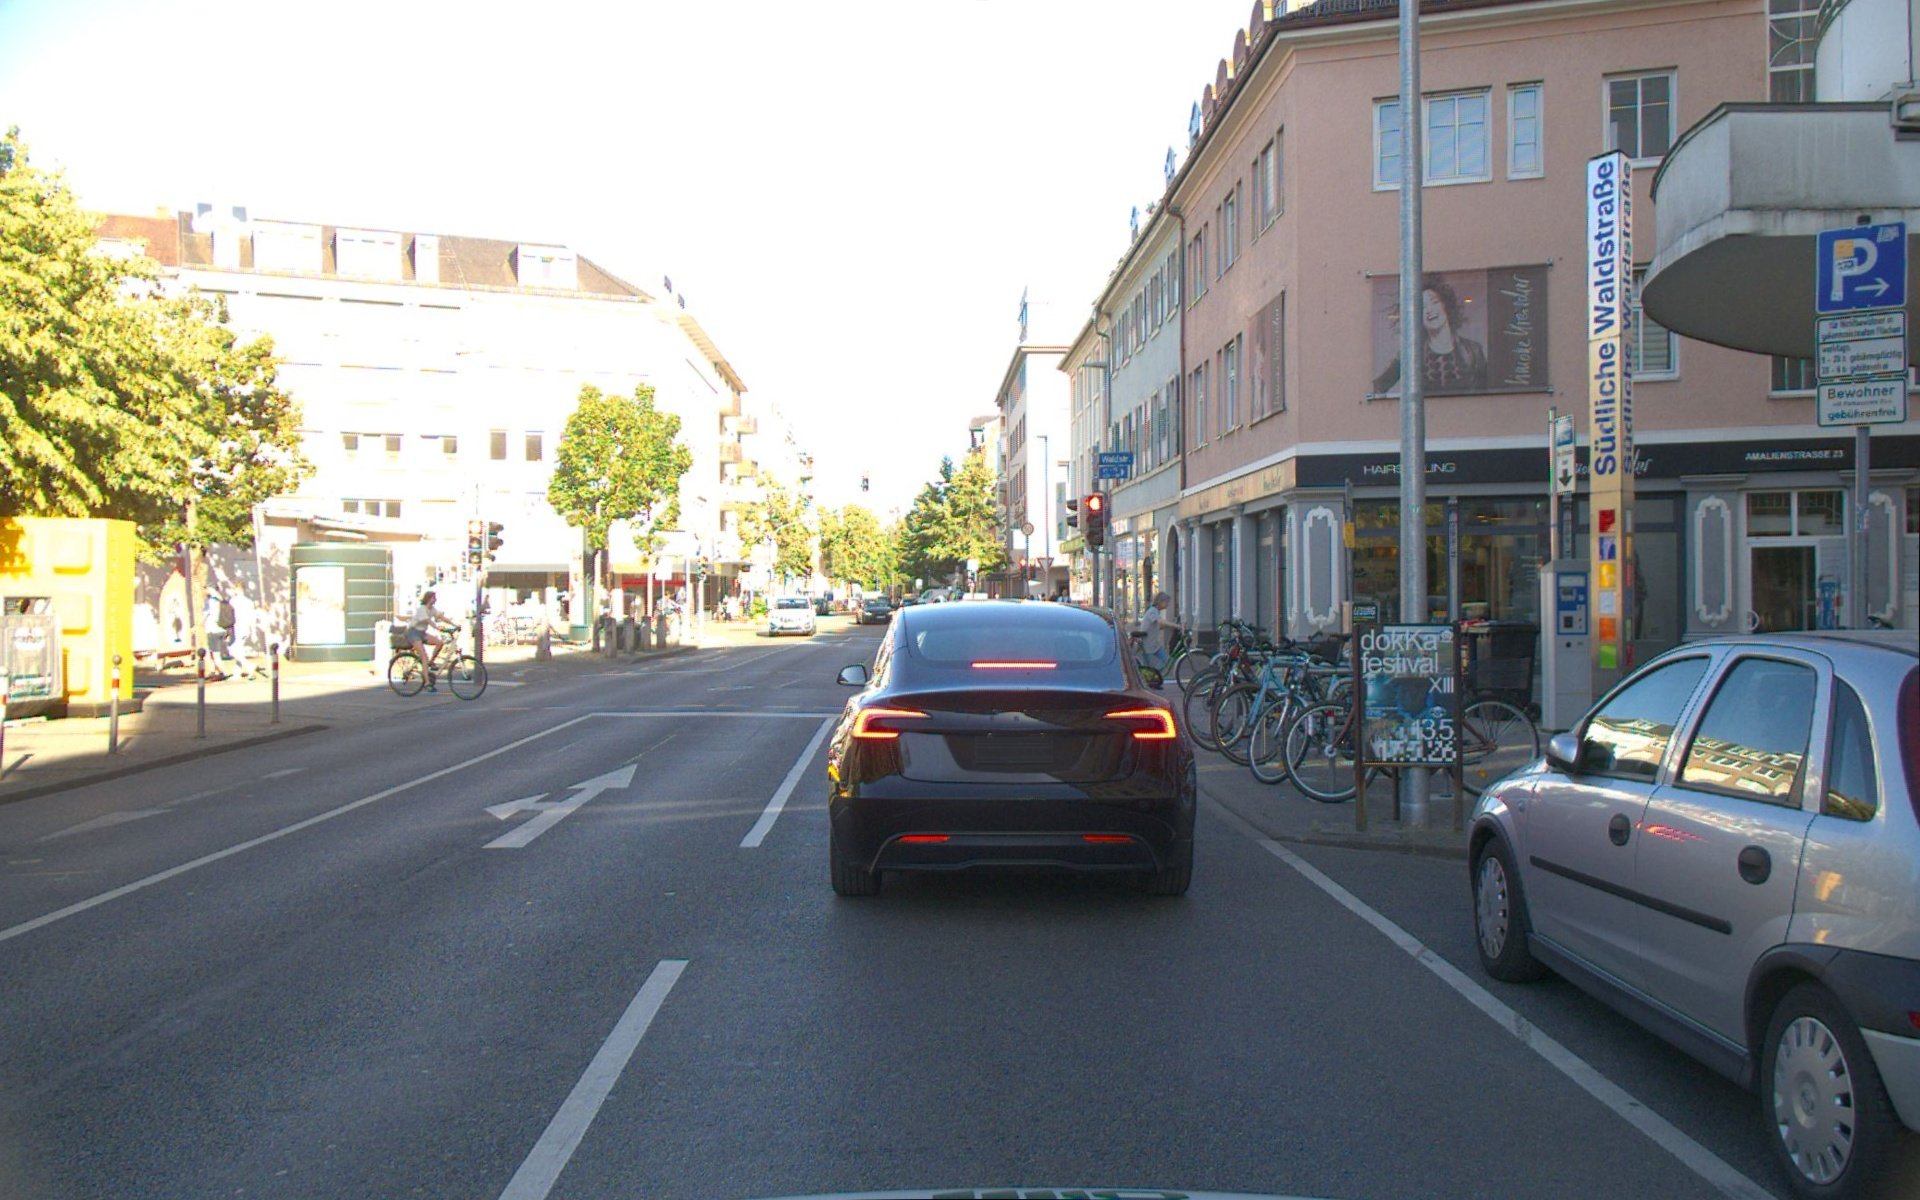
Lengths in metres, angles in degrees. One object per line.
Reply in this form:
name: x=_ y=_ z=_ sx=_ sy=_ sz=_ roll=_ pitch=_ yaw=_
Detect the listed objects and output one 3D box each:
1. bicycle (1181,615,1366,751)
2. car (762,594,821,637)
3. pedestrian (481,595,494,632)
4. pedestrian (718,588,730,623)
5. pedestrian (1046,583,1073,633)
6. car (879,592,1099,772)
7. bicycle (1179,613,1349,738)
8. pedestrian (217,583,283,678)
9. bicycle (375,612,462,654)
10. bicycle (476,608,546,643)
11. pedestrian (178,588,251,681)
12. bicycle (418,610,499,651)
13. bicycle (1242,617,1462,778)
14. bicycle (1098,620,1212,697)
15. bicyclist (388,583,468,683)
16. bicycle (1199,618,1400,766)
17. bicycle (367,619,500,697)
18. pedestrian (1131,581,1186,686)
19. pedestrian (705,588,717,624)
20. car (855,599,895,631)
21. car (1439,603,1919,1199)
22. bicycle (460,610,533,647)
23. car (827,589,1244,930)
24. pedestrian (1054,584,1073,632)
bicycle: x=2.894 y=0.761 z=15.321 sx=1.595 sy=1.180 sz=0.432 roll=-2 pitch=0 yaw=-2
car: x=-6.845 y=0.613 z=67.433 sx=1.953 sy=1.567 sz=3.999 roll=-4 pitch=0 yaw=-1
pedestrian: x=-17.788 y=0.510 z=62.244 sx=0.412 sy=1.363 sz=0.393 roll=0 pitch=0 yaw=-8
pedestrian: x=-13.645 y=0.320 z=95.497 sx=0.613 sy=2.049 sz=0.575 roll=0 pitch=0 yaw=-1
pedestrian: x=3.819 y=0.302 z=63.496 sx=0.979 sy=1.883 sz=0.615 roll=0 pitch=0 yaw=-1
car: x=0.241 y=0.670 z=15.492 sx=1.812 sy=1.480 sz=3.786 roll=0 pitch=0 yaw=0
bicycle: x=3.025 y=0.746 z=16.517 sx=1.594 sy=1.180 sz=0.433 roll=-2 pitch=0 yaw=0
pedestrian: x=-13.291 y=0.559 z=30.973 sx=0.882 sy=1.755 sz=0.744 roll=0 pitch=0 yaw=3
bicycle: x=-14.458 y=0.876 z=44.187 sx=2.040 sy=1.123 sz=0.806 roll=0 pitch=0 yaw=-1
bicycle: x=-14.568 y=0.830 z=53.674 sx=2.040 sy=1.123 sz=0.806 roll=0 pitch=0 yaw=-1
pedestrian: x=-13.546 y=0.618 z=30.074 sx=0.966 sy=1.665 sz=0.737 roll=0 pitch=0 yaw=3
bicycle: x=-14.162 y=0.861 z=46.711 sx=2.040 sy=1.123 sz=0.806 roll=0 pitch=0 yaw=-1
bicycle: x=3.079 y=0.757 z=13.041 sx=1.595 sy=1.180 sz=0.432 roll=-2 pitch=0 yaw=-2
bicycle: x=2.779 y=0.826 z=23.628 sx=1.581 sy=1.063 sz=0.591 roll=1 pitch=0 yaw=5
bicyclist: x=-8.736 y=0.538 z=27.181 sx=1.074 sy=1.617 sz=0.629 roll=0 pitch=0 yaw=15
bicycle: x=2.901 y=0.778 z=14.186 sx=1.595 sy=1.180 sz=0.432 roll=-2 pitch=0 yaw=-2
bicycle: x=-8.638 y=0.943 z=27.148 sx=2.080 sy=1.221 sz=0.629 roll=0 pitch=0 yaw=15
pedestrian: x=2.834 y=0.475 z=23.622 sx=0.727 sy=1.466 sz=0.582 roll=1 pitch=0 yaw=3
pedestrian: x=-14.386 y=0.332 z=95.484 sx=0.613 sy=2.049 sz=0.707 roll=0 pitch=0 yaw=-1
car: x=-4.837 y=0.846 z=93.719 sx=2.011 sy=1.757 sz=4.647 roll=0 pitch=0 yaw=-7
car: x=2.882 y=0.731 z=5.276 sx=1.588 sy=1.419 sz=3.886 roll=0 pitch=0 yaw=0
bicycle: x=-14.427 y=0.874 z=51.482 sx=2.040 sy=1.123 sz=0.806 roll=0 pitch=0 yaw=-1
car: x=0.332 y=0.690 z=9.101 sx=1.812 sy=1.480 sz=3.786 roll=0 pitch=0 yaw=0
pedestrian: x=3.985 y=0.299 z=63.514 sx=0.689 sy=1.814 sz=0.533 roll=0 pitch=0 yaw=-1
